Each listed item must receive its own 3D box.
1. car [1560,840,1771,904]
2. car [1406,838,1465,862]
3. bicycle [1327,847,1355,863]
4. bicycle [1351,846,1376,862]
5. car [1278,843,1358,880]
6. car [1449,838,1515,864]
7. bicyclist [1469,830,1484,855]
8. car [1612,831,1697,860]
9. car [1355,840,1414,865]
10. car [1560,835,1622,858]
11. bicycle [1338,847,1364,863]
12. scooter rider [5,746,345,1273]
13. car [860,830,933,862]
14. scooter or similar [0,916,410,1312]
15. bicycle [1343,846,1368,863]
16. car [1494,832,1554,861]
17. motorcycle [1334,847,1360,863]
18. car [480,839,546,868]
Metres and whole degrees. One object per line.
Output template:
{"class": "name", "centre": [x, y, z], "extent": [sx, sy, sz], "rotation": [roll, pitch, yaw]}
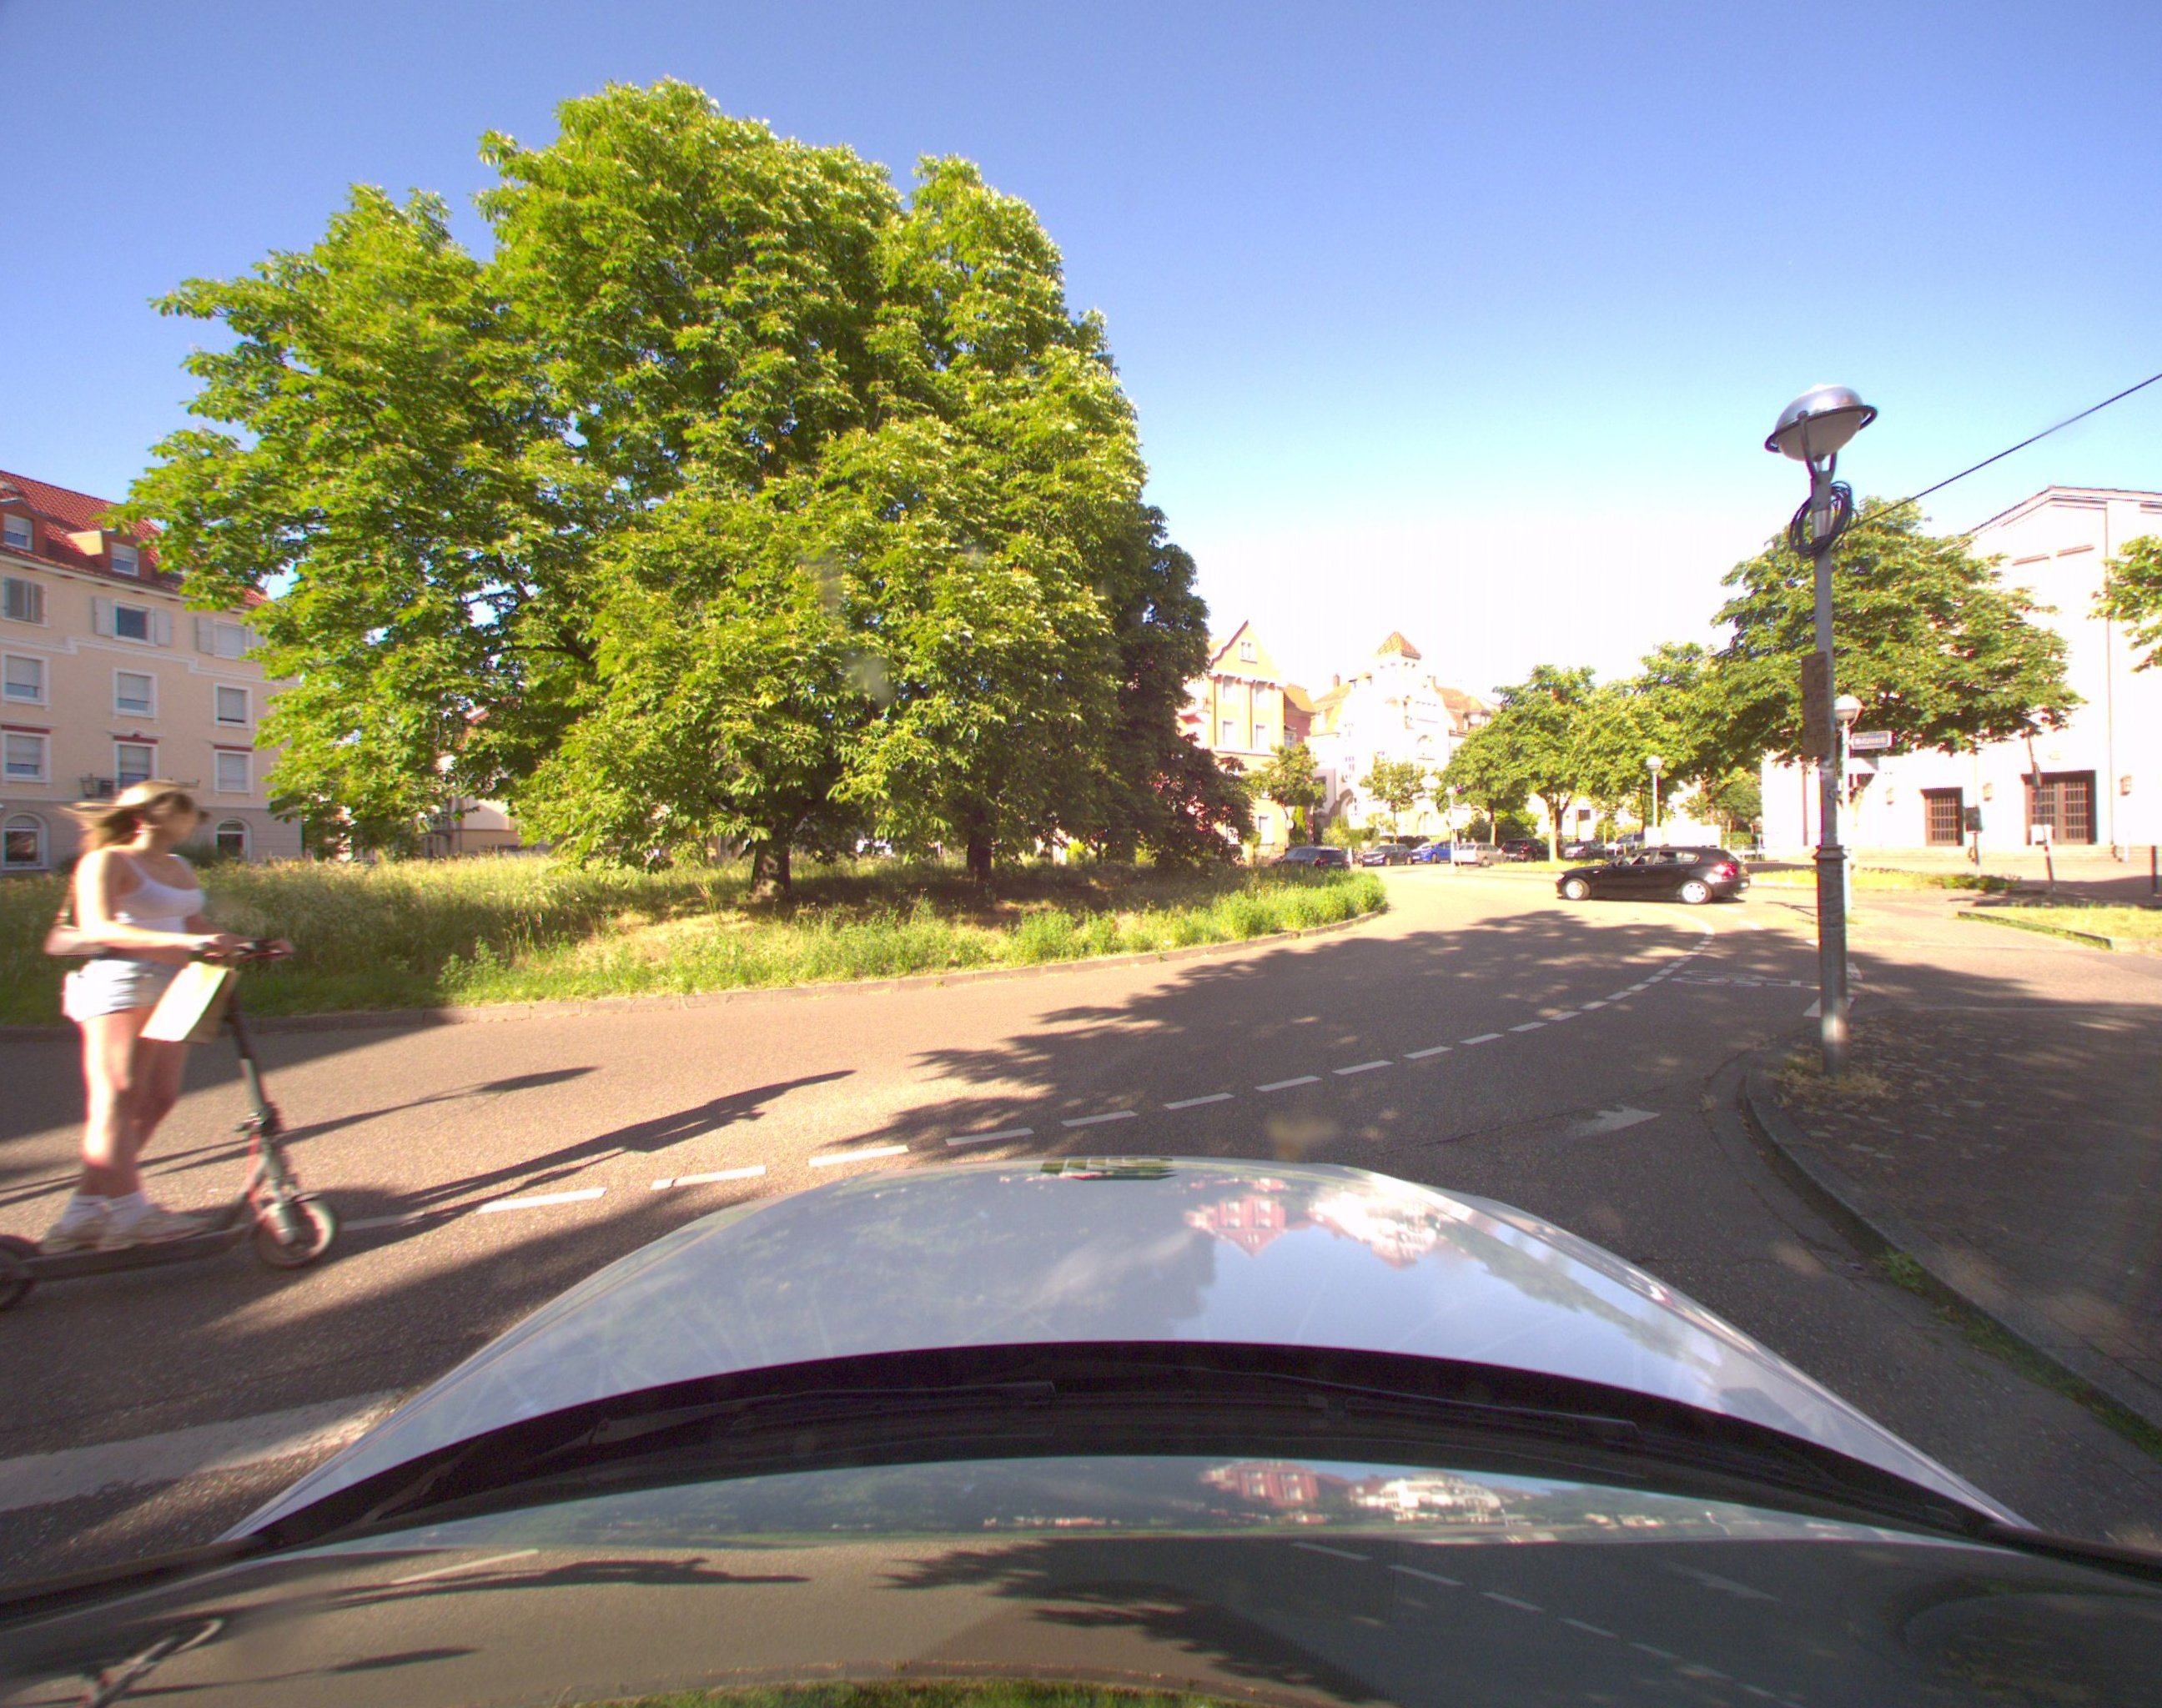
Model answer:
{"class": "car", "centre": [14.724, 0.407, 20.694], "extent": [1.879, 1.419, 3.957], "rotation": [-2, 1, -35]}
{"class": "car", "centre": [25.266, -0.285, 58.040], "extent": [4.418, 1.562, 1.790], "rotation": [-2, -2, -35]}
{"class": "bicycle", "centre": [18.141, 0.058, 56.917], "extent": [1.806, 1.107, 0.504], "rotation": [1, 2, 40]}
{"class": "bicycle", "centre": [20.409, 0.004, 58.772], "extent": [0.518, 1.107, 1.707], "rotation": [-1, 2, -38]}
{"class": "car", "centre": [10.619, 0.299, 36.806], "extent": [1.824, 1.532, 3.984], "rotation": [-1, 0, -12]}
{"class": "car", "centre": [23.358, -0.218, 47.369], "extent": [4.360, 1.415, 1.789], "rotation": [-1, 1, -40]}
{"class": "bicyclist", "centre": [28.168, -0.822, 58.060], "extent": [0.726, 1.714, 0.639], "rotation": [-1, -1, -35]}
{"class": "car", "centre": [41.319, -0.608, 58.737], "extent": [1.819, 2.001, 4.724], "rotation": [-1, 1, -39]}
{"class": "car", "centre": [20.467, -0.109, 54.869], "extent": [4.361, 1.483, 1.788], "rotation": [-2, -2, -40]}
{"class": "car", "centre": [34.200, -0.509, 54.596], "extent": [4.353, 1.473, 1.792], "rotation": [-1, 1, -32]}
{"class": "bicycle", "centre": [19.102, 0.042, 57.704], "extent": [0.503, 1.107, 1.706], "rotation": [-2, 2, -41]}
{"class": "scooter rider", "centre": [-3.503, 0.534, 3.222], "extent": [0.631, 1.832, 0.622], "rotation": [-1, 0, -17]}
{"class": "car", "centre": [-15.385, -0.659, 67.740], "extent": [6.294, 2.600, 2.117], "rotation": [0, 0, 34]}
{"class": "scooter or similar", "centre": [-3.498, 0.936, 3.227], "extent": [1.105, 1.283, 0.629], "rotation": [-1, 0, -17]}
{"class": "bicycle", "centre": [19.608, 0.030, 58.157], "extent": [0.503, 1.107, 1.707], "rotation": [-1, 2, -38]}
{"class": "car", "centre": [27.296, -0.484, 50.134], "extent": [4.360, 1.728, 1.789], "rotation": [-1, 1, -40]}
{"class": "motorcycle", "centre": [18.692, 0.060, 57.315], "extent": [0.503, 1.107, 1.706], "rotation": [-2, 2, -41]}
{"class": "car", "centre": [-39.303, -0.003, 56.345], "extent": [4.502, 1.909, 2.155], "rotation": [-1, 0, 33]}
